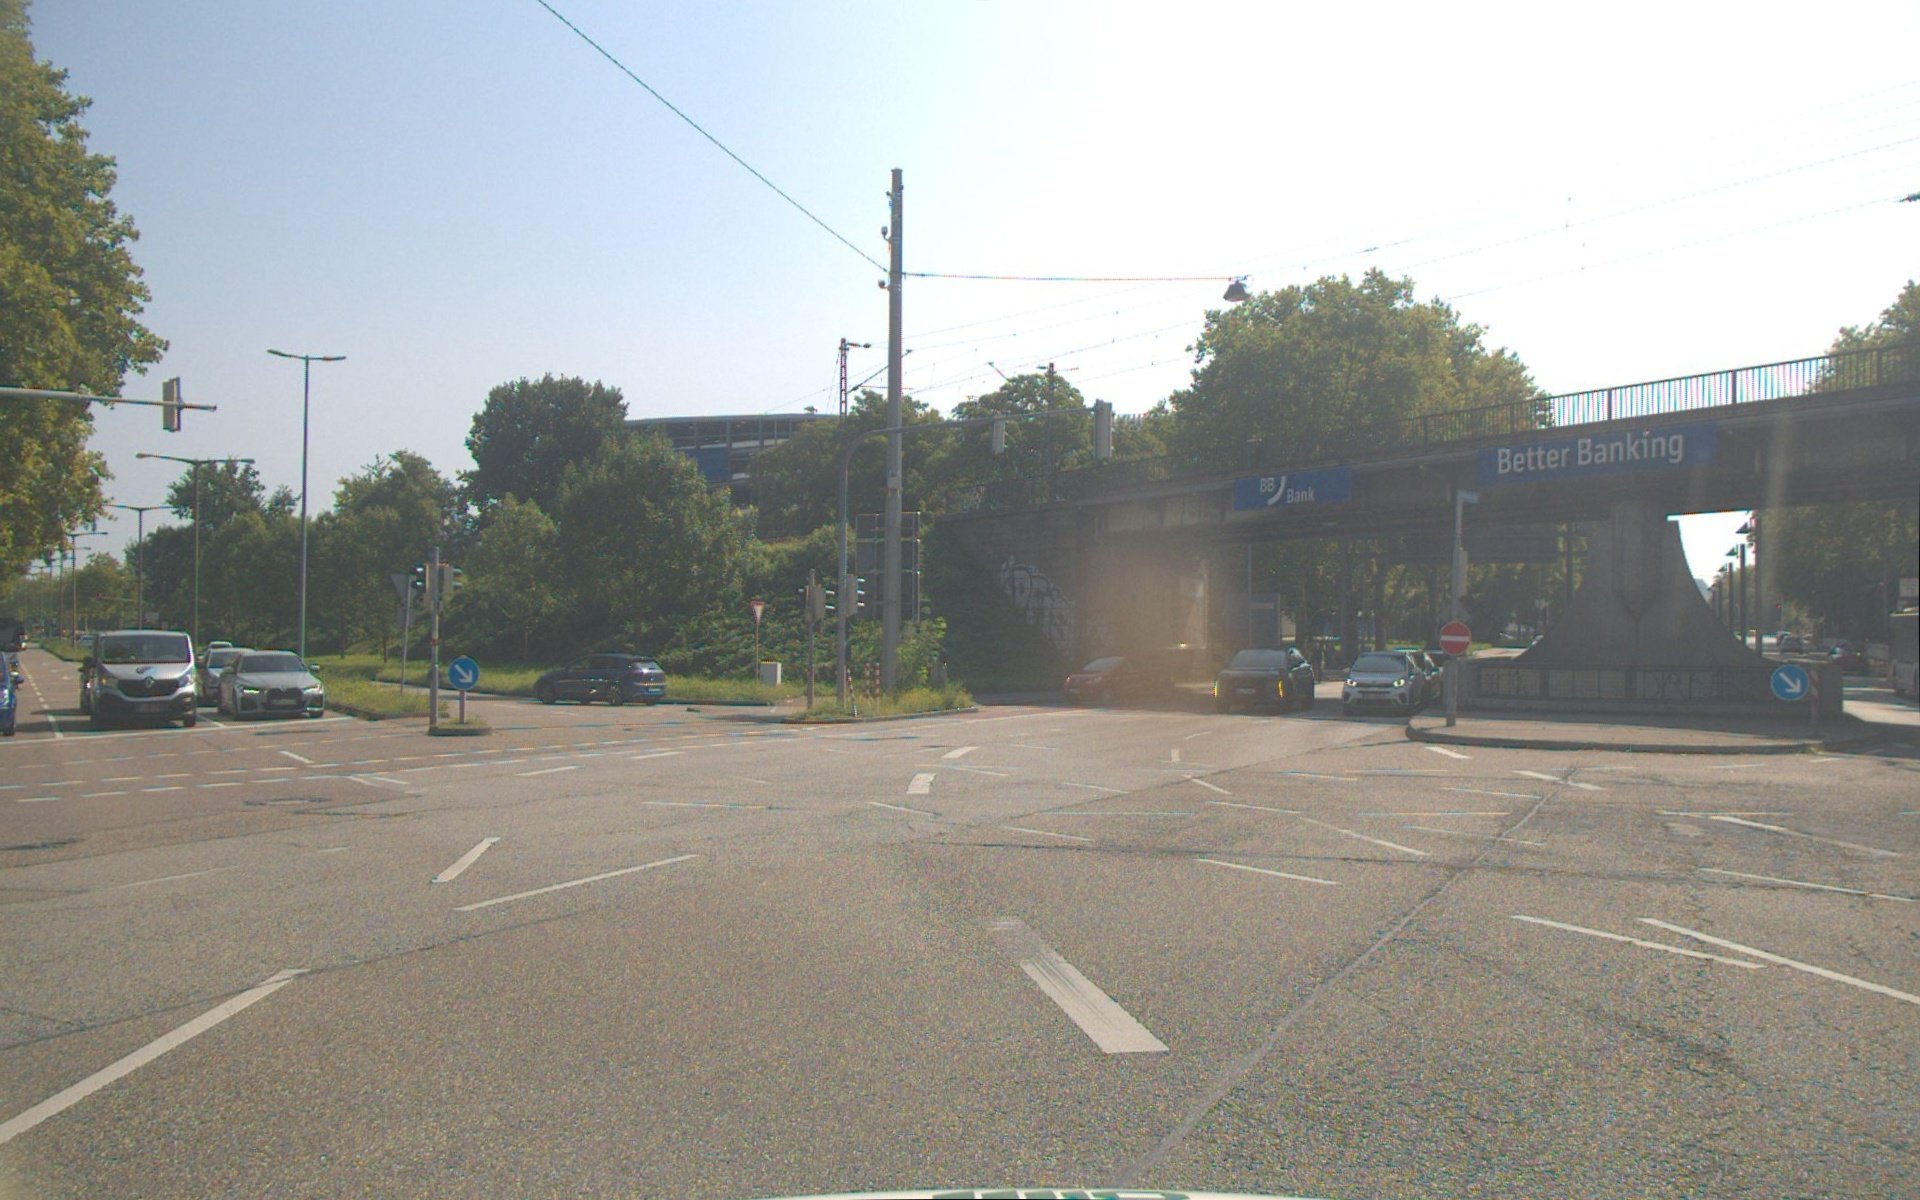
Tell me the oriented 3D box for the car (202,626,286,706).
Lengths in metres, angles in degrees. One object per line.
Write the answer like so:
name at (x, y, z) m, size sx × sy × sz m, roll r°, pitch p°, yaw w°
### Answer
car at (-19.117, 1.717, 44.086) m, size 1.597 × 1.561 × 4.062 m, roll -1°, pitch 6°, yaw -30°

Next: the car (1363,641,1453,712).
car at (12.085, 2.008, 44.433) m, size 1.952 × 1.600 × 4.348 m, roll 1°, pitch 1°, yaw 20°

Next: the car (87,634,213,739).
car at (-17.071, 1.734, 34.729) m, size 1.908 × 1.992 × 5.156 m, roll 1°, pitch -1°, yaw -31°

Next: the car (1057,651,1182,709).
car at (4.732, 2.333, 48.868) m, size 3.518 × 1.492 × 1.621 m, roll 1°, pitch 2°, yaw -39°

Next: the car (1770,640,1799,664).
car at (76.229, 4.803, 152.961) m, size 1.953 × 2.049 × 4.000 m, roll 2°, pitch 0°, yaw 21°

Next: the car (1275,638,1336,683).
car at (15.578, 2.684, 74.451) m, size 1.953 × 1.881 × 3.999 m, roll 2°, pitch 0°, yaw 22°

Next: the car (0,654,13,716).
car at (-25.464, 2.200, 42.741) m, size 1.650 × 1.562 × 3.693 m, roll -1°, pitch -1°, yaw -29°

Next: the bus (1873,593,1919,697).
bus at (33.018, 1.633, 55.257) m, size 3.074 × 3.166 × 12.282 m, roll 6°, pitch 1°, yaw 24°

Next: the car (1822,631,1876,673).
car at (47.203, 2.748, 87.860) m, size 1.953 × 2.049 × 4.000 m, roll 2°, pitch 0°, yaw 21°

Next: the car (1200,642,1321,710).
car at (7.736, 1.927, 42.318) m, size 1.864 × 1.645 × 4.469 m, roll -2°, pitch -2°, yaw 26°

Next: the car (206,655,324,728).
car at (-15.765, 2.019, 37.416) m, size 1.817 × 1.468 × 4.556 m, roll -1°, pitch -1°, yaw -31°

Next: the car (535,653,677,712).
car at (-10.295, 2.363, 48.039) m, size 3.917 × 1.453 × 1.781 m, roll 3°, pitch 0°, yaw 34°

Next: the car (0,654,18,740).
car at (-19.004, 1.879, 31.602) m, size 1.650 × 1.562 × 3.694 m, roll -2°, pitch -2°, yaw -29°

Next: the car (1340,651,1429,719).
car at (10.324, 2.024, 40.094) m, size 1.685 × 1.565 × 3.696 m, roll -1°, pitch -2°, yaw 21°

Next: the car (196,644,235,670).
car at (-49.972, 3.830, 110.986) m, size 1.973 × 1.683 × 3.958 m, roll 0°, pitch -2°, yaw -31°
